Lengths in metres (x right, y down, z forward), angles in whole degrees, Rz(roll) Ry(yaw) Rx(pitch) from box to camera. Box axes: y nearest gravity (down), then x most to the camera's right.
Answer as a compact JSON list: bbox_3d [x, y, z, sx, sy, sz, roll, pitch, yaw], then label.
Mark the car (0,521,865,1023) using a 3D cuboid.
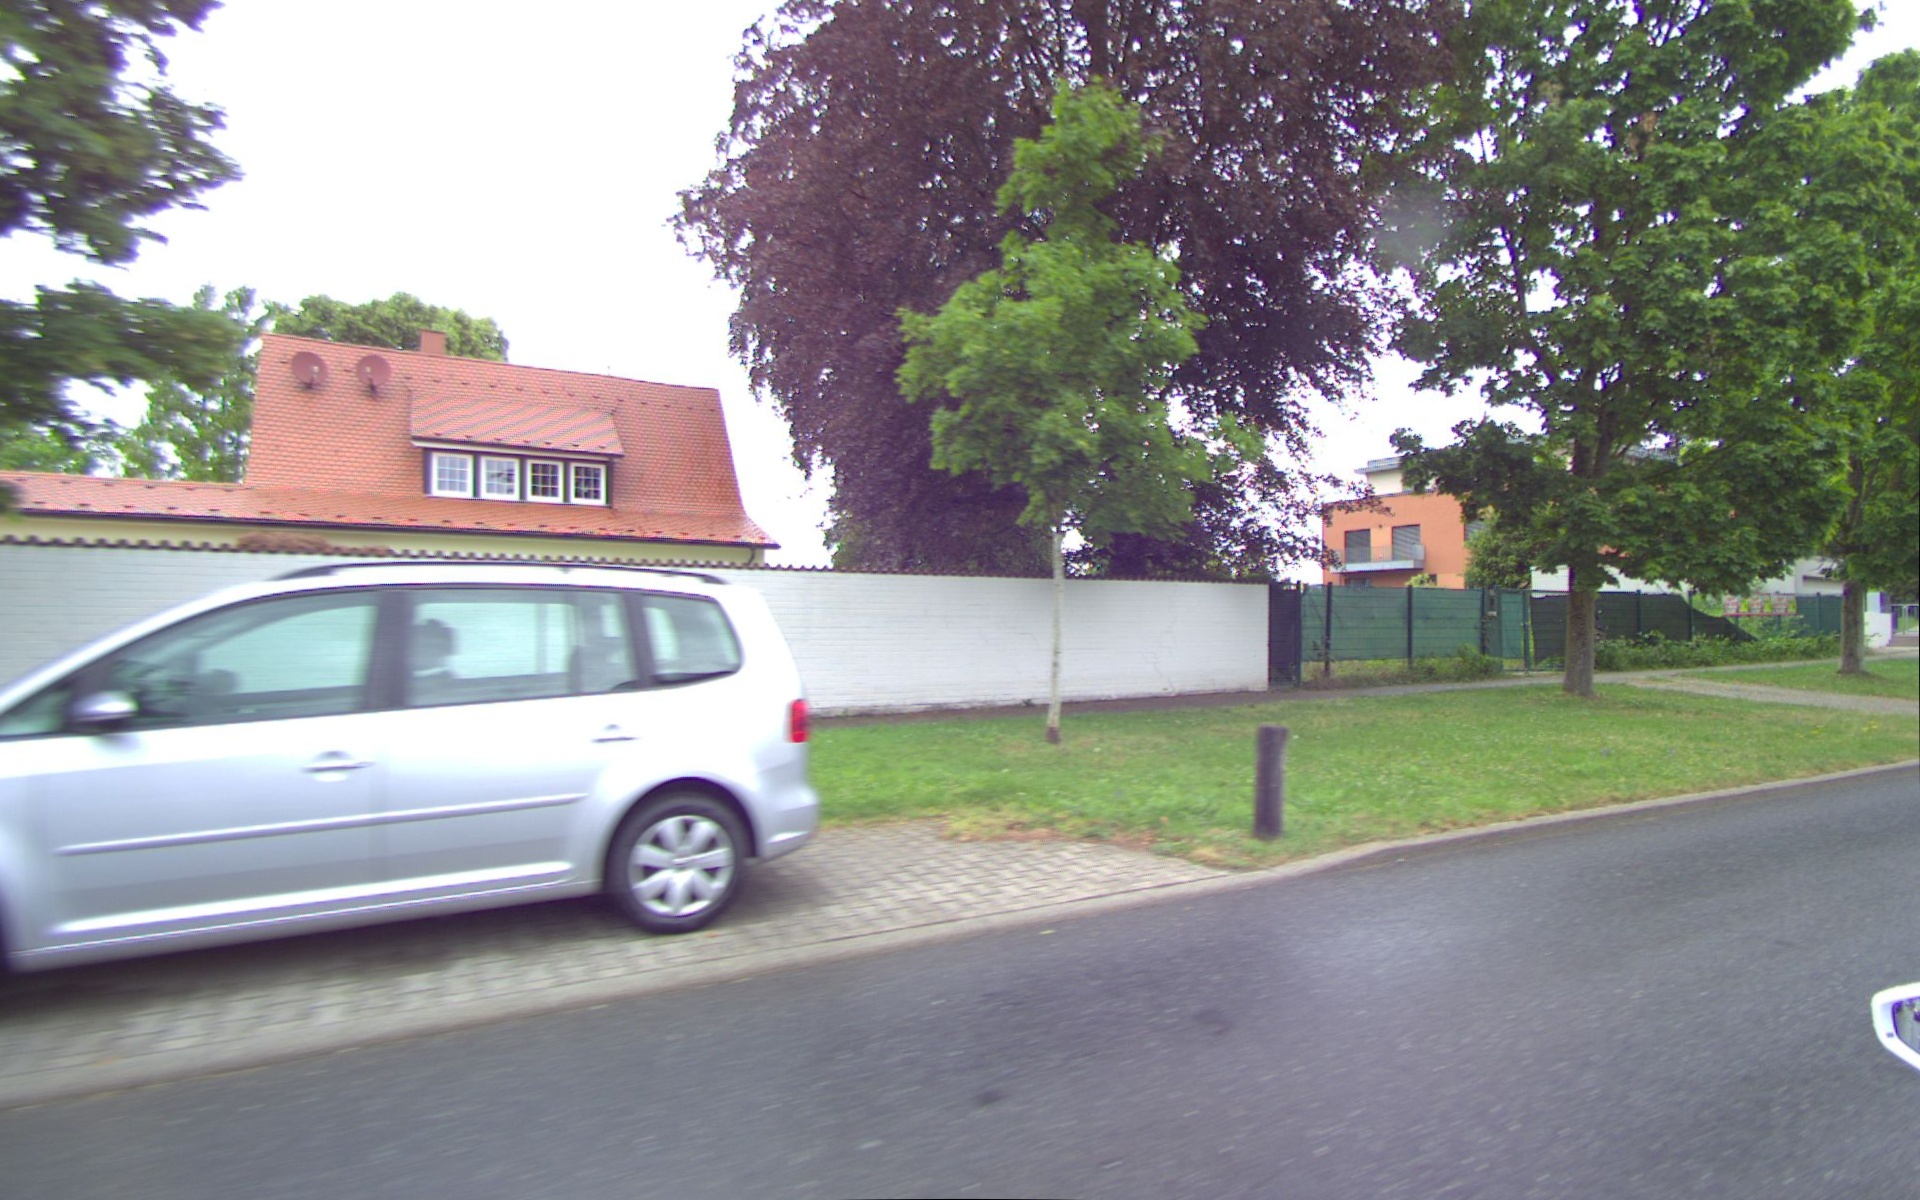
[{"bbox_3d":[-2.697,0.596,4.572,4.181,1.649,1.749,1,-1,-30],"label":"car"}]
